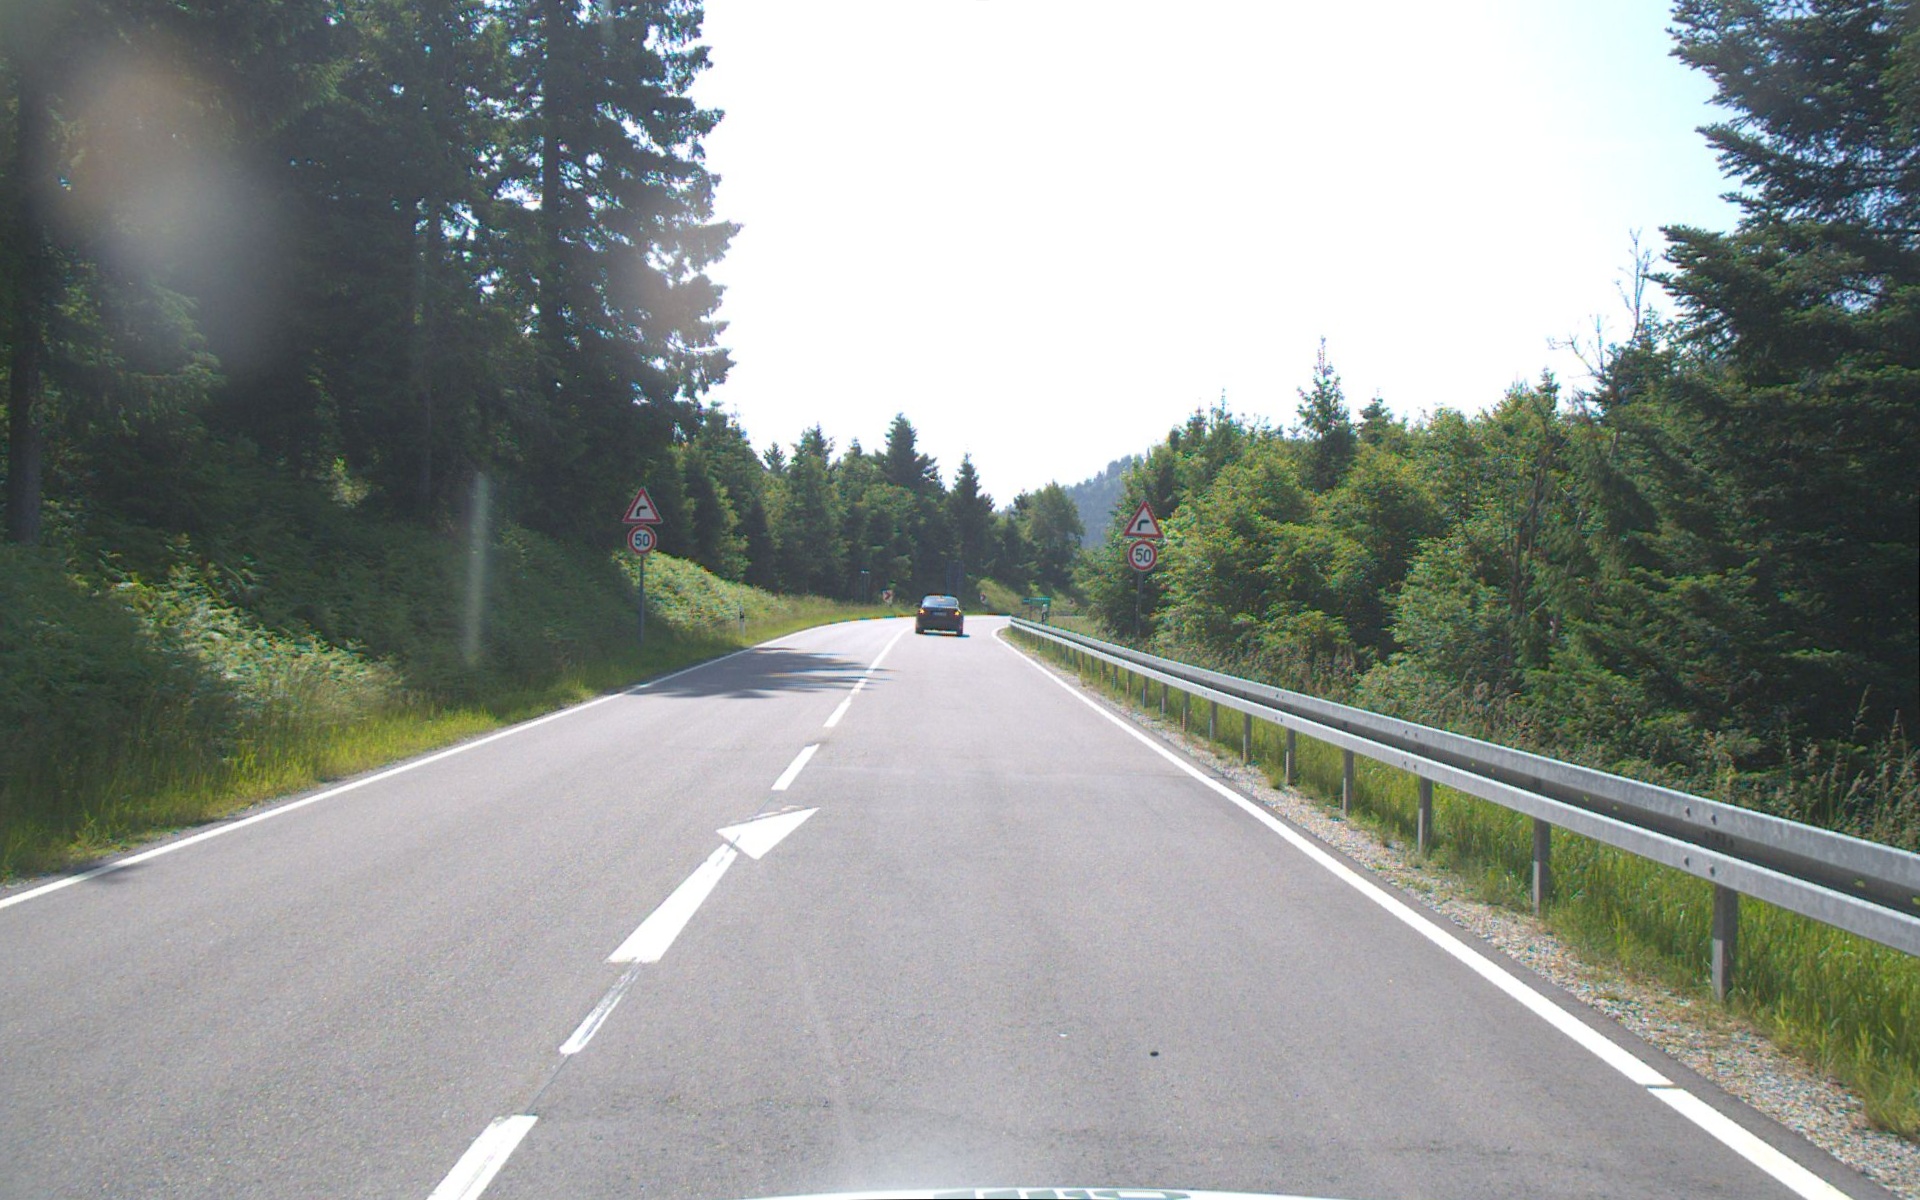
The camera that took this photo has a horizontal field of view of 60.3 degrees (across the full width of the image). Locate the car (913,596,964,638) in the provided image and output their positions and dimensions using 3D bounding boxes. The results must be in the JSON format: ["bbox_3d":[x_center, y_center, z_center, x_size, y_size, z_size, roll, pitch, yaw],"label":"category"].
[{"bbox_3d":[-0.768,0.623,62.037,1.739,1.467,3.709,2,0,1],"label":"car"}]
